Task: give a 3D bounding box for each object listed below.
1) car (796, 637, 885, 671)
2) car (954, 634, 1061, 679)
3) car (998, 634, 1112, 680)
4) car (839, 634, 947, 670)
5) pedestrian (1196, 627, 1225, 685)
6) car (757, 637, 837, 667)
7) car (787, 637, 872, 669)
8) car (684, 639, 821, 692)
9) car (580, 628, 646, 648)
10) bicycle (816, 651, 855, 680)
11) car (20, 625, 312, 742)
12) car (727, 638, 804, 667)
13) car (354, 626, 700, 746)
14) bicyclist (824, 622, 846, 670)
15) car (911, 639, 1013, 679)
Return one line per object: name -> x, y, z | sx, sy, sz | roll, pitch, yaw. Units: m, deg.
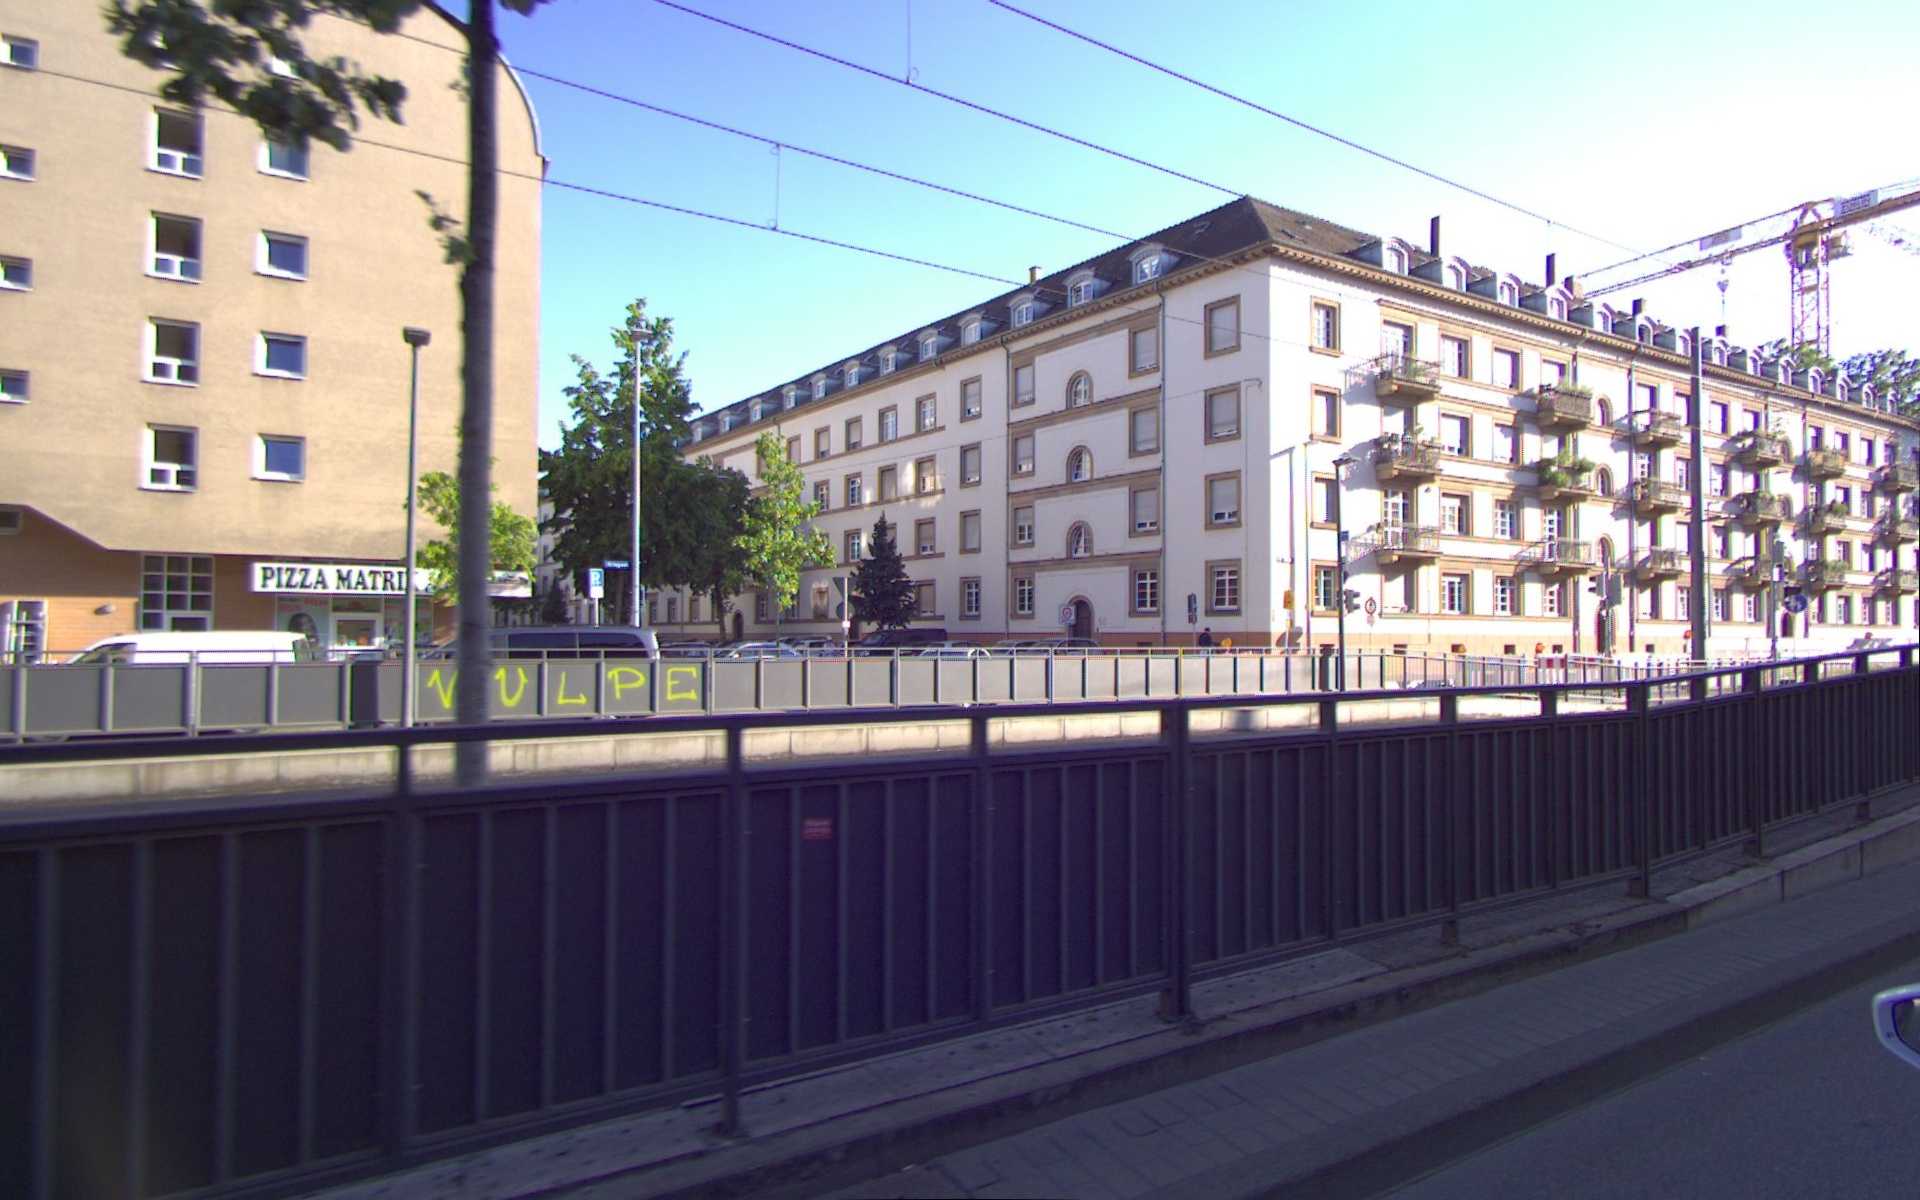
car -> -5.844, 2.625, 49.124 | 3.961, 1.521, 1.825 | 0, -2, -36
car -> 1.900, 2.184, 39.534 | 3.961, 1.606, 1.825 | 0, -2, -36
car -> 3.585, 2.109, 37.780 | 4.090, 1.606, 1.825 | 0, -2, -36
car -> -3.011, 2.322, 45.713 | 4.666, 1.521, 1.825 | 0, -2, -36
pedestrian -> 9.026, 1.999, 36.210 | 0.618, 2.040, 0.797 | 0, -2, -30
car -> -9.000, 2.856, 55.545 | 3.961, 1.521, 1.825 | 0, -2, -36
car -> -6.668, 2.714, 51.581 | 3.961, 1.521, 1.825 | 0, -2, -36
car -> -6.895, 2.121, 33.491 | 4.116, 1.606, 1.825 | 0, -2, -36
car -> -27.775, 3.064, 80.477 | 4.666, 1.521, 1.825 | 0, -2, -36
bicycle -> -4.412, 2.299, 35.542 | 0.678, 0.960, 1.726 | 1, -2, -33
car -> -15.270, 1.543, 19.656 | 4.090, 2.040, 1.988 | 0, -2, -25
car -> -11.127, 2.994, 57.480 | 3.961, 1.521, 1.825 | 0, -2, -36
car -> -6.888, 1.312, 16.427 | 4.871, 1.740, 1.989 | 1, -2, -23
bicyclist -> -4.430, 1.621, 35.597 | 0.659, 1.702, 0.482 | 1, -2, -34
car -> 0.123, 2.417, 41.958 | 3.961, 1.521, 1.825 | 0, -2, -36
